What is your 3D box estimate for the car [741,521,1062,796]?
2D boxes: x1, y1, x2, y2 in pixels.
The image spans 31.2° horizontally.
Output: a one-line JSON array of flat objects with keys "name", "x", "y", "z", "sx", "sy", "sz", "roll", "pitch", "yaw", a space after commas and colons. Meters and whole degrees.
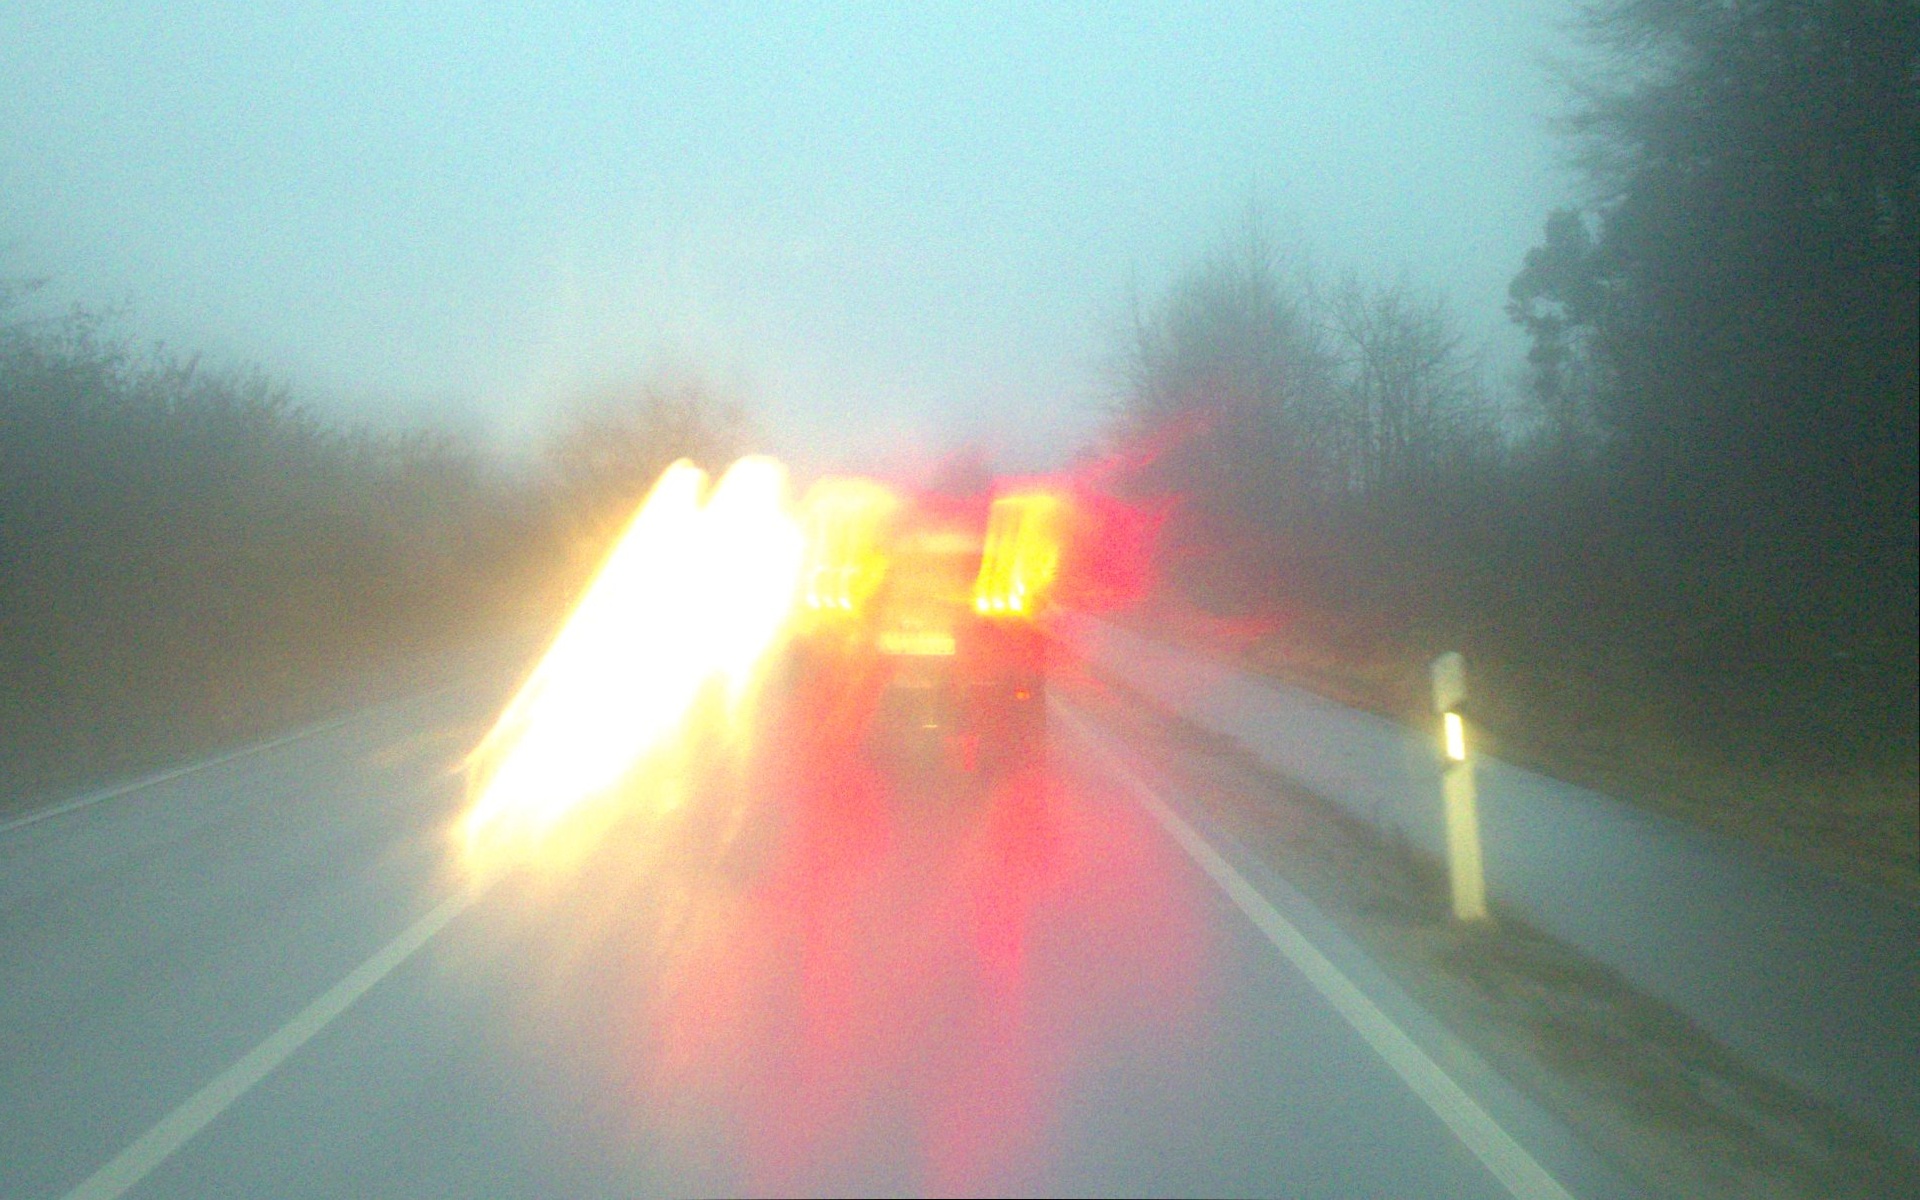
[{"name": "car", "x": -0.429, "y": 0.350, "z": 25.304, "sx": 2.120, "sy": 1.813, "sz": 4.980, "roll": 0, "pitch": 1, "yaw": -1}]

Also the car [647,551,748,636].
[{"name": "car", "x": -5.253, "y": -0.149, "z": 69.203, "sx": 1.767, "sy": 1.593, "sz": 4.000, "roll": -2, "pitch": 1, "yaw": -2}]
